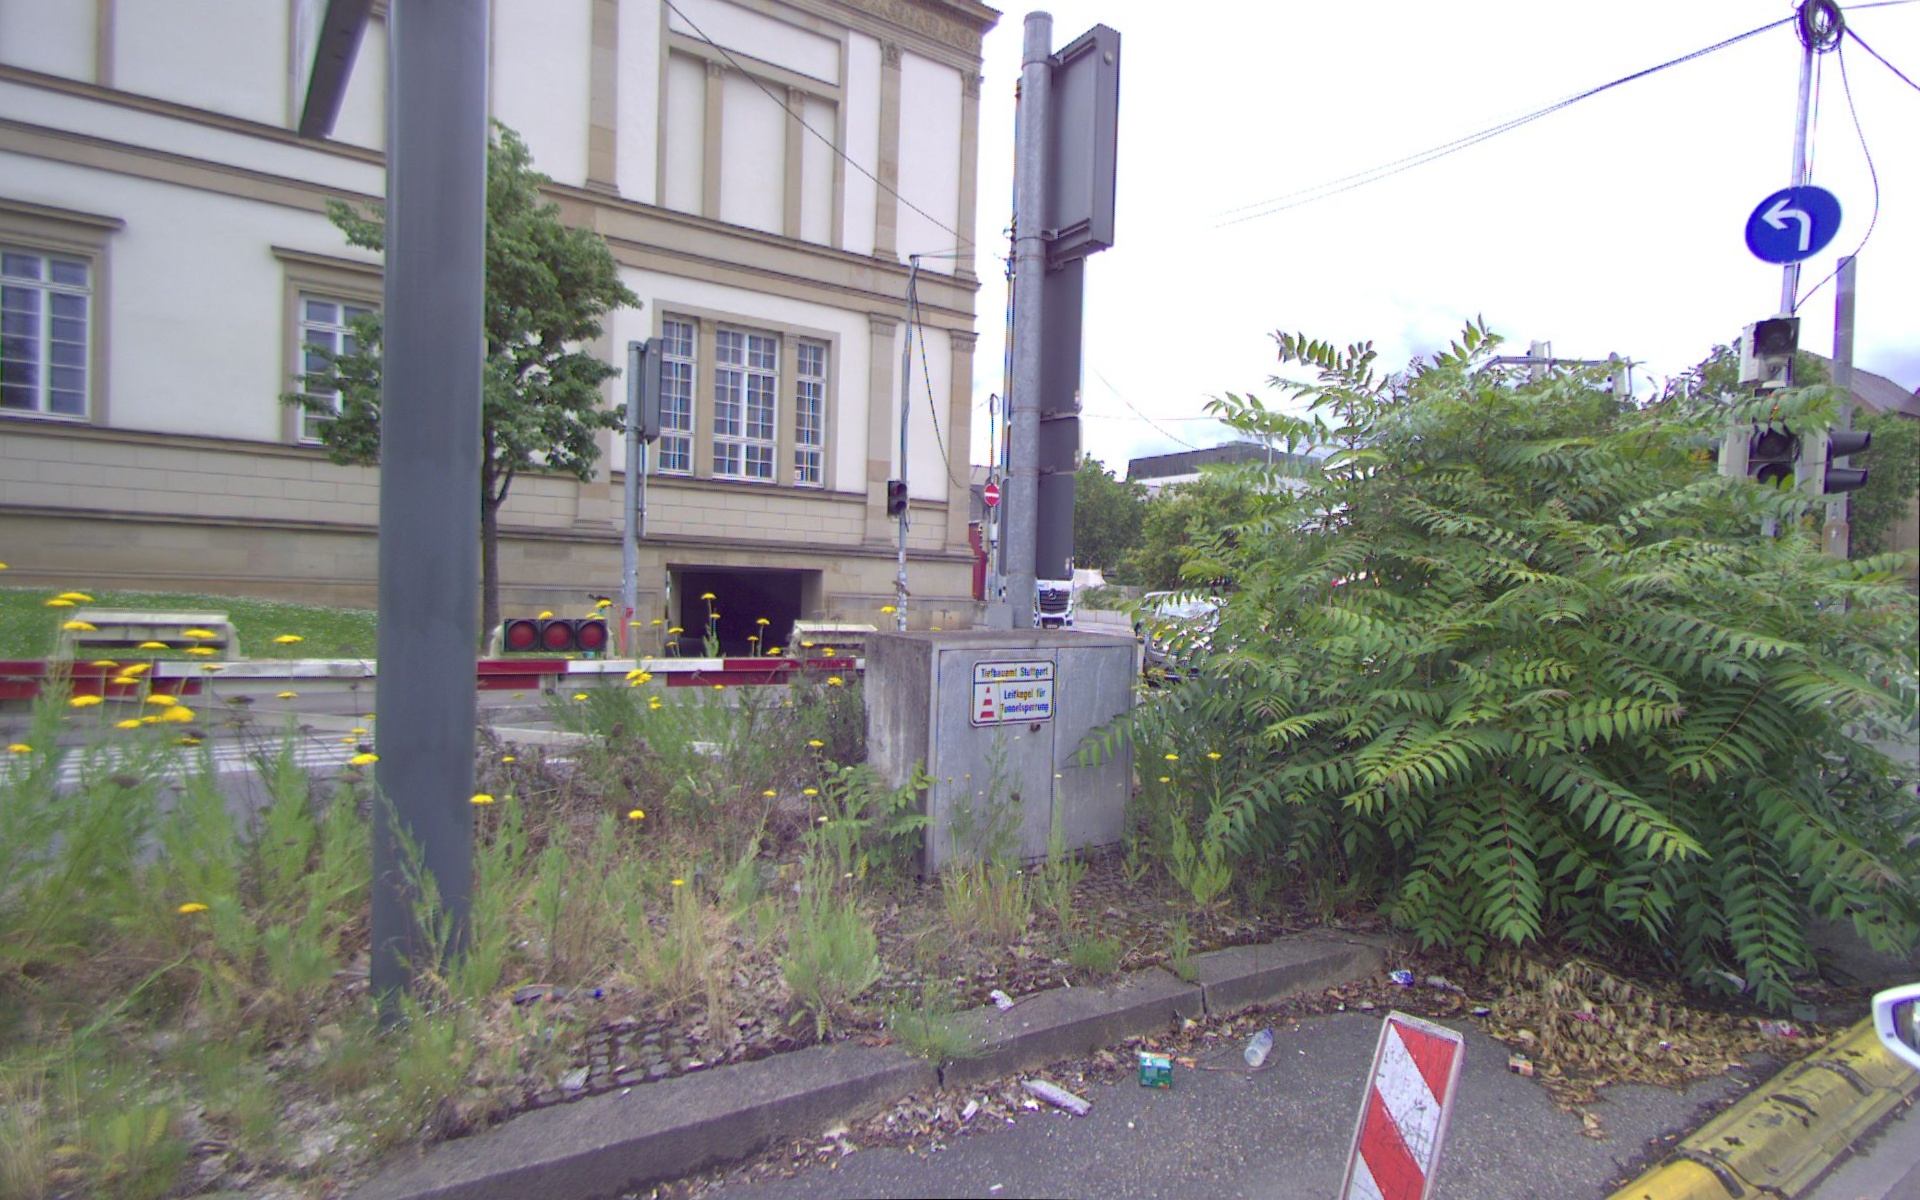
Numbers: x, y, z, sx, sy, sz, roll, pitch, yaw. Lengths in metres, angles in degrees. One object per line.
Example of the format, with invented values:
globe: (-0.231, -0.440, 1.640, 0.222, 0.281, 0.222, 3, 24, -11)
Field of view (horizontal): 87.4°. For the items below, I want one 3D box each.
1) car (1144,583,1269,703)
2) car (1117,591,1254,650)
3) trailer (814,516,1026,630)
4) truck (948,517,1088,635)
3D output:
car: (4.206, 0.656, 17.257, 1.801, 1.769, 4.002, 1, 0, 13)
car: (6.815, 0.601, 30.746, 1.810, 1.646, 4.032, 2, 0, -31)
trailer: (-2.325, -1.109, 45.074, 2.916, 4.338, 13.662, 2, 0, -33)
truck: (2.132, -0.852, 38.296, 2.915, 4.118, 4.846, 2, 0, -34)
